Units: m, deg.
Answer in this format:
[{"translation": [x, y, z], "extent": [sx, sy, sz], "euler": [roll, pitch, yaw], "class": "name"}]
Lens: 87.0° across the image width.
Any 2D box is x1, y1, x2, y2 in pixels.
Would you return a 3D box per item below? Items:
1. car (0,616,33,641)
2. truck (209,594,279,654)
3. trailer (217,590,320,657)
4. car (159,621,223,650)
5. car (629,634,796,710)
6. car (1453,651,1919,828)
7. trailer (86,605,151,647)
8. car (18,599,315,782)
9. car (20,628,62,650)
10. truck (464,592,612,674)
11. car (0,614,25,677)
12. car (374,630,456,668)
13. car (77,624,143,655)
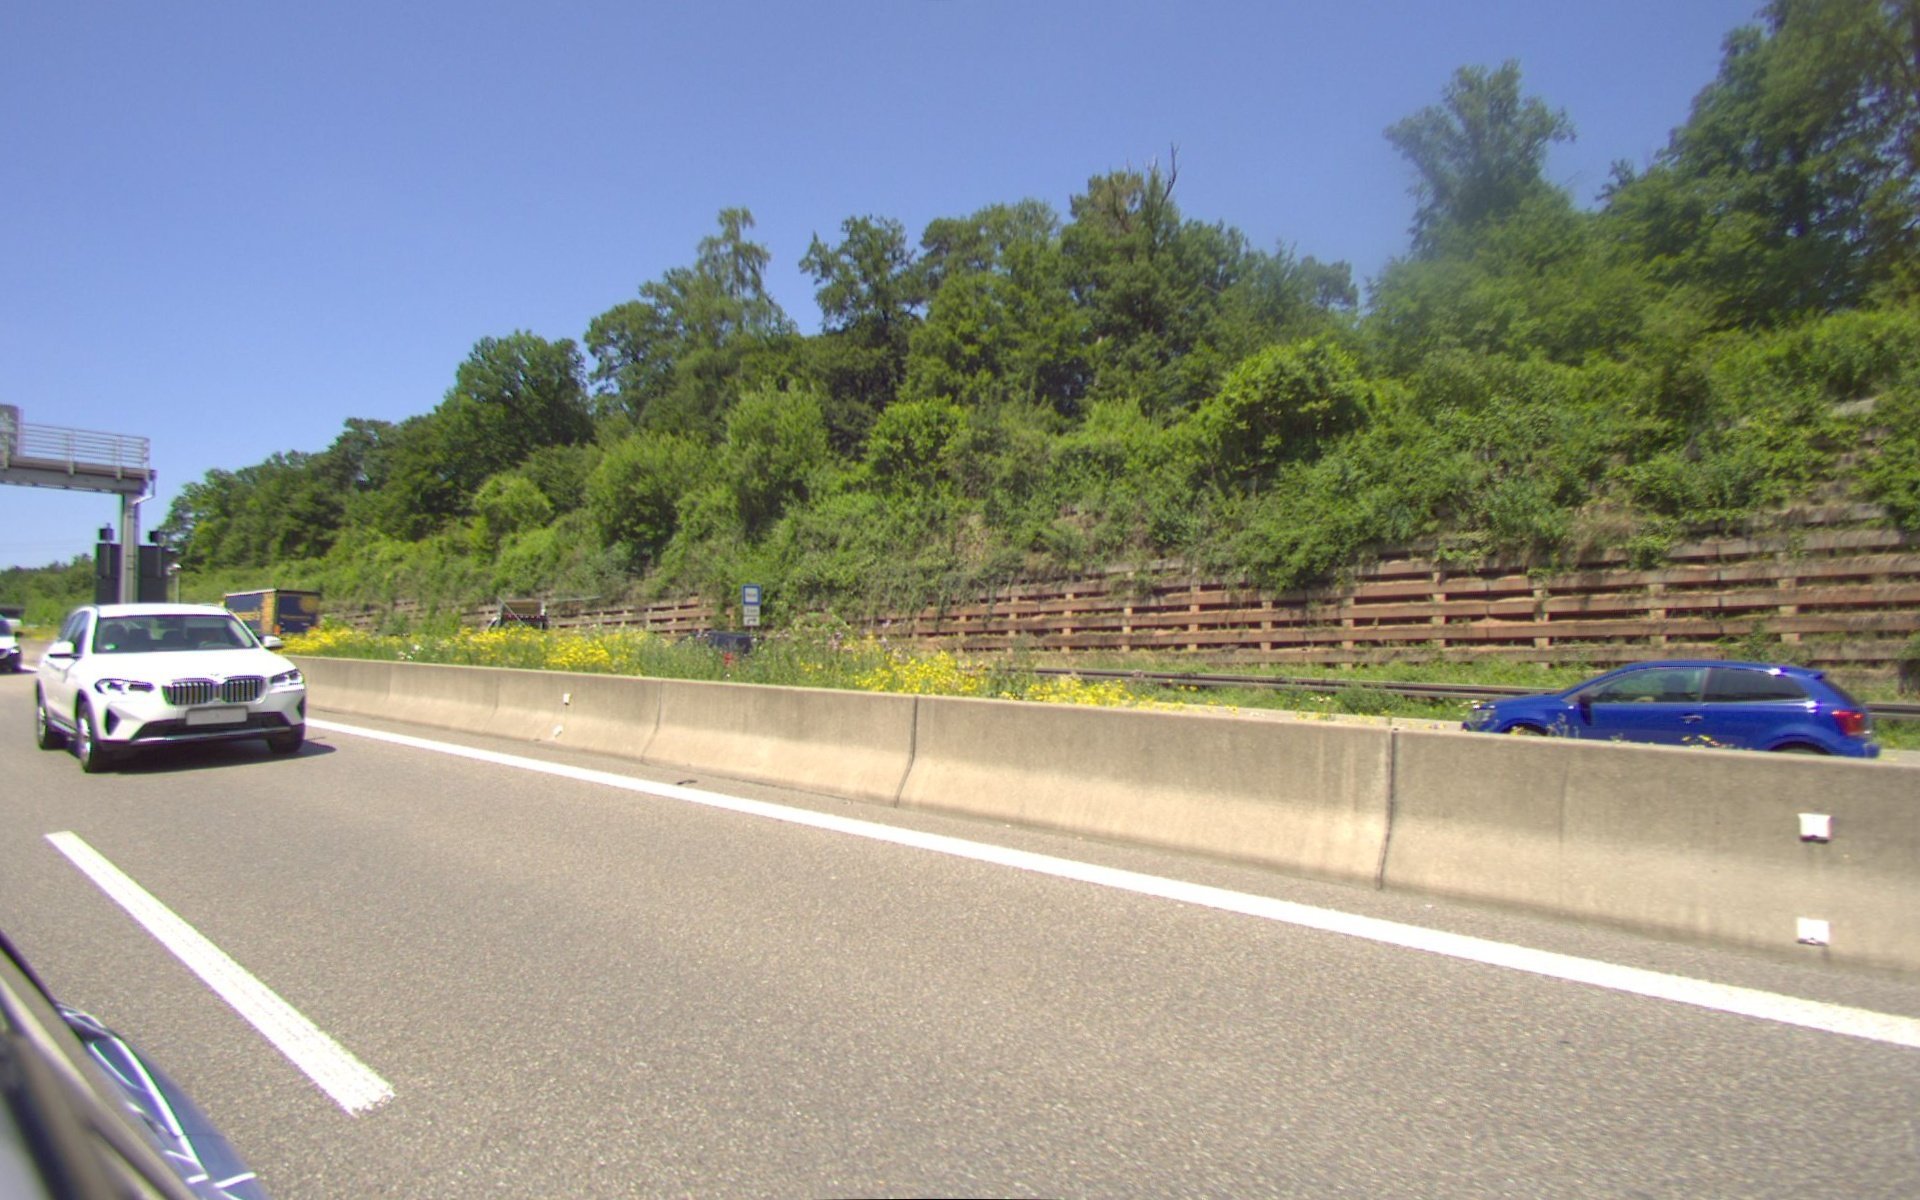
[{"translation": [-103.774, 3.130, 110.731], "extent": [5.680, 2.694, 2.726], "euler": [-2, -3, 41], "class": "car"}, {"translation": [-53.547, 1.841, 75.649], "extent": [6.459, 4.234, 2.918], "euler": [-2, -4, 44], "class": "truck"}, {"translation": [-48.555, 1.700, 70.817], "extent": [14.468, 4.239, 2.944], "euler": [-2, -4, 44], "class": "trailer"}, {"translation": [-44.769, 2.099, 58.860], "extent": [4.859, 1.617, 1.982], "euler": [-2, -3, 41], "class": "car"}, {"translation": [-5.855, 1.615, 23.683], "extent": [4.196, 1.617, 1.690], "euler": [-2, -3, 41], "class": "car"}, {"translation": [8.059, 1.403, 11.409], "extent": [4.196, 1.617, 1.690], "euler": [-2, -3, 41], "class": "car"}, {"translation": [-88.679, 2.813, 106.535], "extent": [13.987, 4.132, 2.947], "euler": [-1, -4, 41], "class": "trailer"}, {"translation": [-9.023, 0.881, 11.370], "extent": [4.366, 1.656, 1.826], "euler": [-2, -1, 41], "class": "car"}, {"translation": [-67.966, 2.882, 74.837], "extent": [4.114, 1.617, 1.824], "euler": [-2, -3, 41], "class": "car"}, {"translation": [-16.985, 1.333, 40.487], "extent": [7.058, 3.015, 2.552], "euler": [-2, -3, 41], "class": "truck"}, {"translation": [-29.265, 1.356, 29.946], "extent": [4.500, 1.788, 1.972], "euler": [-1, 0, 42], "class": "car"}, {"translation": [-24.532, 2.176, 45.513], "extent": [4.369, 1.616, 1.781], "euler": [-2, -3, 41], "class": "car"}, {"translation": [-45.800, 2.118, 54.494], "extent": [4.710, 1.617, 1.982], "euler": [-2, -3, 41], "class": "car"}]
